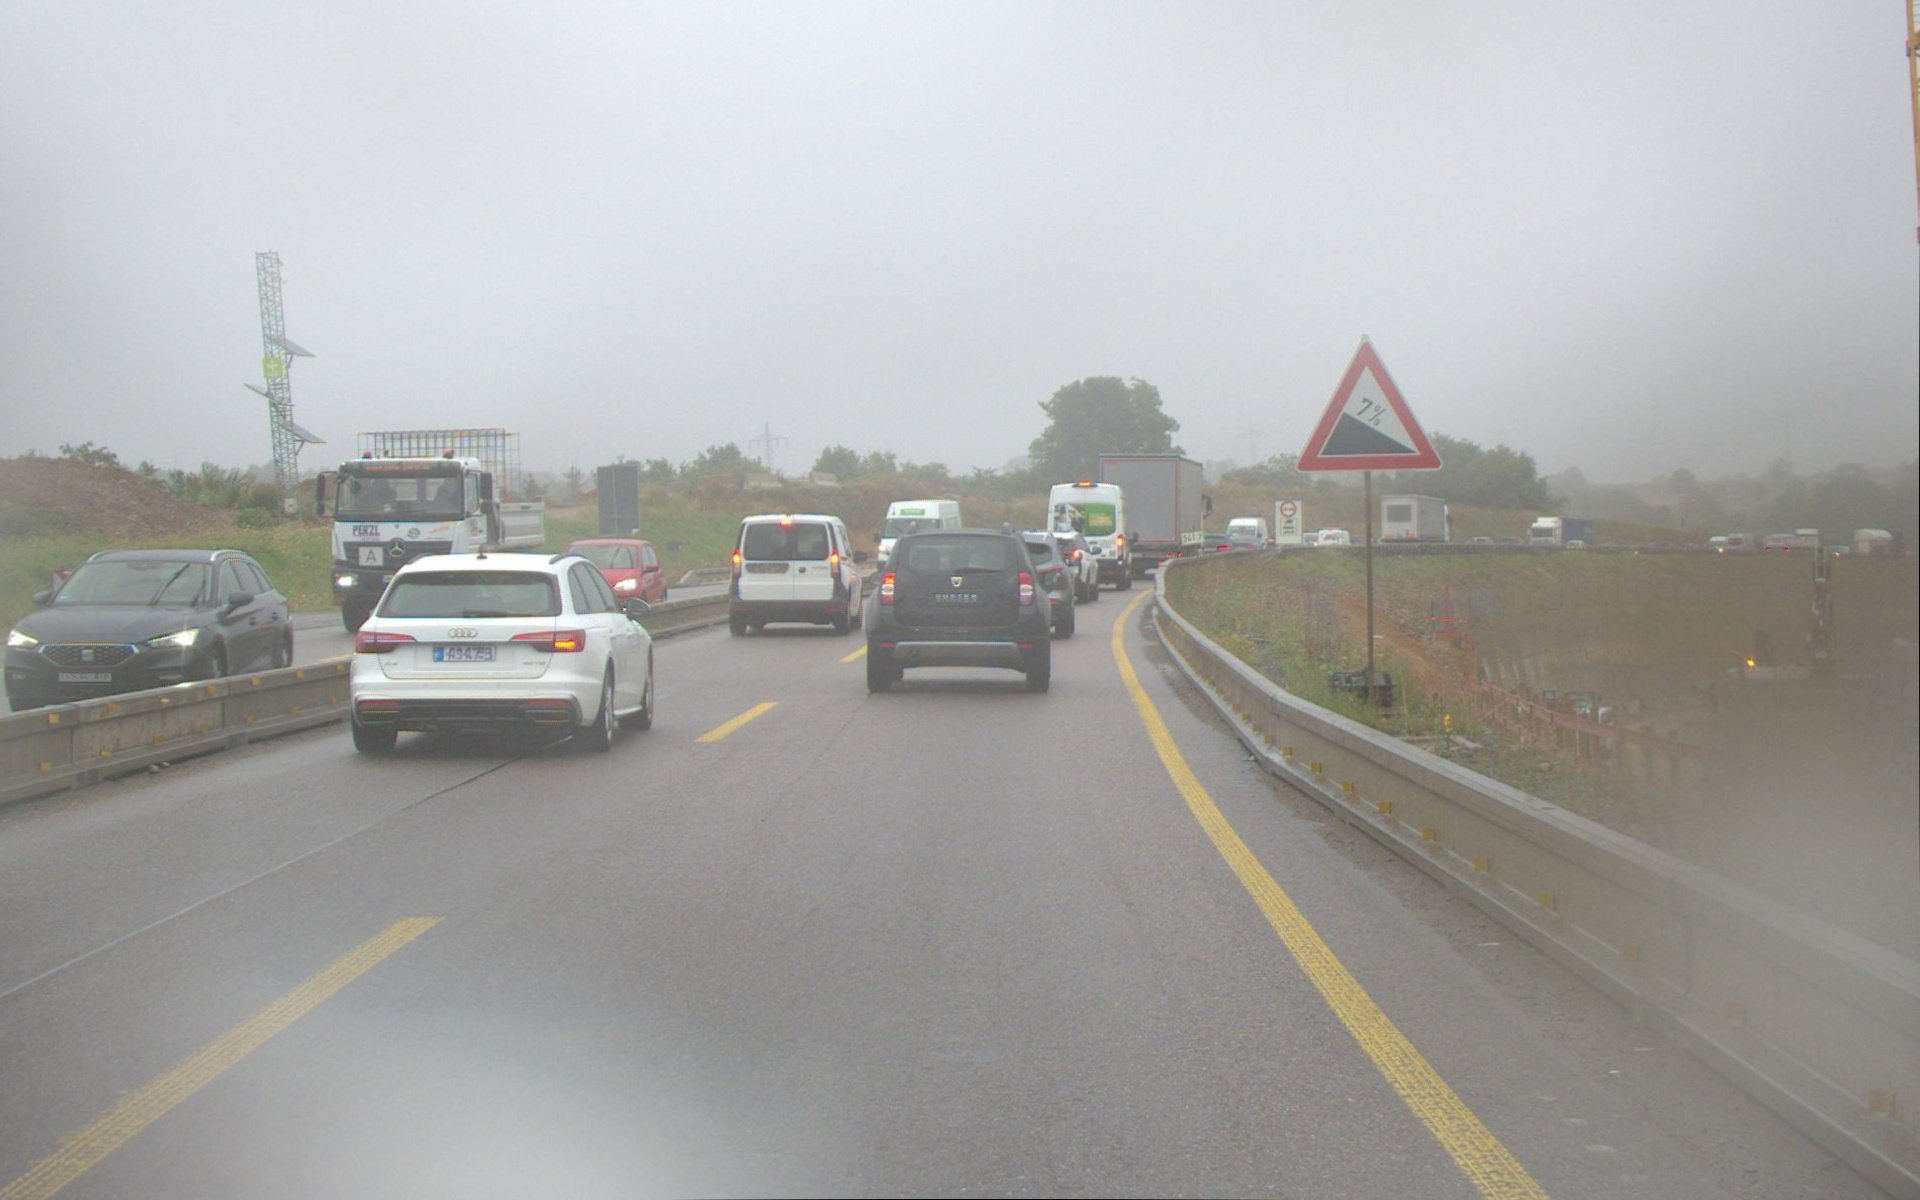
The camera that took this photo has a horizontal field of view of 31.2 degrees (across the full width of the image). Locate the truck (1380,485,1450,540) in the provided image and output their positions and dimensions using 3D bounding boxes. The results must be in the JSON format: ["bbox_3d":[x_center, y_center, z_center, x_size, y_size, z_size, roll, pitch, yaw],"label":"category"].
[{"bbox_3d":[30.975,-5.953,233.756,3.475,3.702,8.411,0,1,16],"label":"truck"}]

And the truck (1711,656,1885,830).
[{"bbox_3d":[19.164,3.177,79.110,2.700,3.491,8.946,1,1,6],"label":"truck"}]

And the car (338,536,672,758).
[{"bbox_3d":[-3.289,0.304,25.578,1.826,1.494,4.000,1,1,2],"label":"car"}]

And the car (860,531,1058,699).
[{"bbox_3d":[0.045,0.125,34.976,1.826,1.585,4.000,1,1,2],"label":"car"}]

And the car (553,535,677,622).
[{"bbox_3d":[-5.745,-0.378,57.536,1.637,1.392,3.592,1,1,1],"label":"car"}]

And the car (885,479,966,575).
[{"bbox_3d":[-1.093,-2.416,113.554,1.994,3.035,7.170,1,1,4],"label":"car"}]

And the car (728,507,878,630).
[{"bbox_3d":[-2.395,-0.487,53.298,1.826,1.809,3.999,1,1,4],"label":"car"}]

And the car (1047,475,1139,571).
[{"bbox_3d":[3.501,-1.980,89.633,1.827,2.429,4.156,1,1,10],"label":"car"}]

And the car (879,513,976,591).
[{"bbox_3d":[-0.756,-1.143,82.458,1.827,1.809,3.999,1,1,6],"label":"car"}]

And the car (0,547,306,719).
[{"bbox_3d":[-7.289,0.253,31.063,1.825,1.438,4.698,0,1,0],"label":"car"}]

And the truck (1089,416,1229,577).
[{"bbox_3d":[6.671,-3.307,113.545,3.545,5.060,10.438,1,1,9],"label":"truck"}]

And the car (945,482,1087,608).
[{"bbox_3d":[0.887,-0.823,52.288,1.827,1.809,3.999,1,1,6],"label":"car"}]

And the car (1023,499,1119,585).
[{"bbox_3d":[2.481,-1.266,75.912,1.827,1.809,3.999,1,1,6],"label":"car"}]

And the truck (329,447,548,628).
[{"bbox_3d":[-8.794,-1.077,58.662,2.359,2.884,6.548,-1,1,3],"label":"truck"}]
